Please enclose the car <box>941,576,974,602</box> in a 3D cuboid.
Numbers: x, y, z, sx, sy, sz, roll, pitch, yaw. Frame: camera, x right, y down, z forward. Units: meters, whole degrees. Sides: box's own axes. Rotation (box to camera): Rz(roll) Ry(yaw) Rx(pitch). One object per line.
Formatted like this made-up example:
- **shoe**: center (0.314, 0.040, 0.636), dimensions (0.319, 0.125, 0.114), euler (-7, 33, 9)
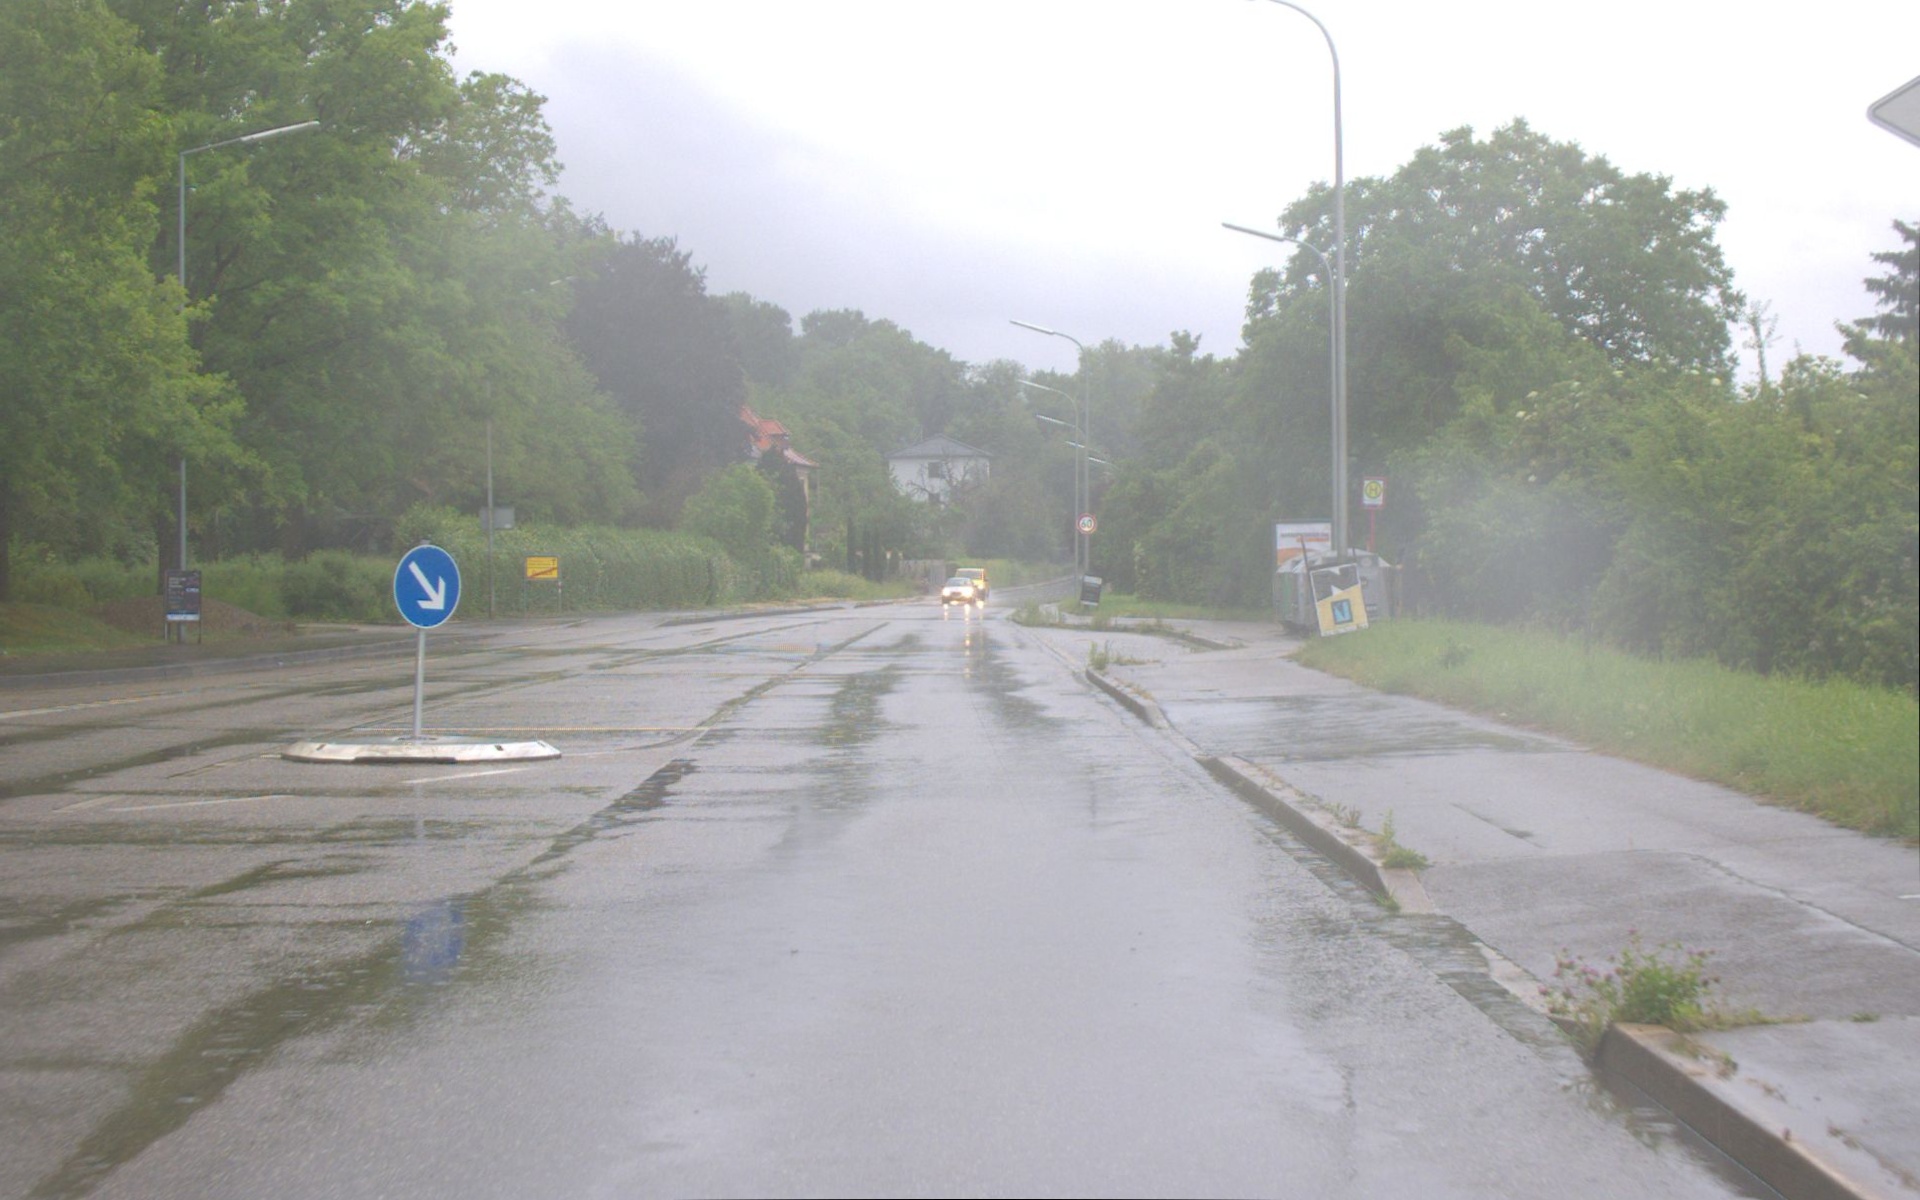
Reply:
- **car**: center (-0.132, -0.584, 183.540), dimensions (1.701, 1.345, 3.905), euler (0, 0, 1)
